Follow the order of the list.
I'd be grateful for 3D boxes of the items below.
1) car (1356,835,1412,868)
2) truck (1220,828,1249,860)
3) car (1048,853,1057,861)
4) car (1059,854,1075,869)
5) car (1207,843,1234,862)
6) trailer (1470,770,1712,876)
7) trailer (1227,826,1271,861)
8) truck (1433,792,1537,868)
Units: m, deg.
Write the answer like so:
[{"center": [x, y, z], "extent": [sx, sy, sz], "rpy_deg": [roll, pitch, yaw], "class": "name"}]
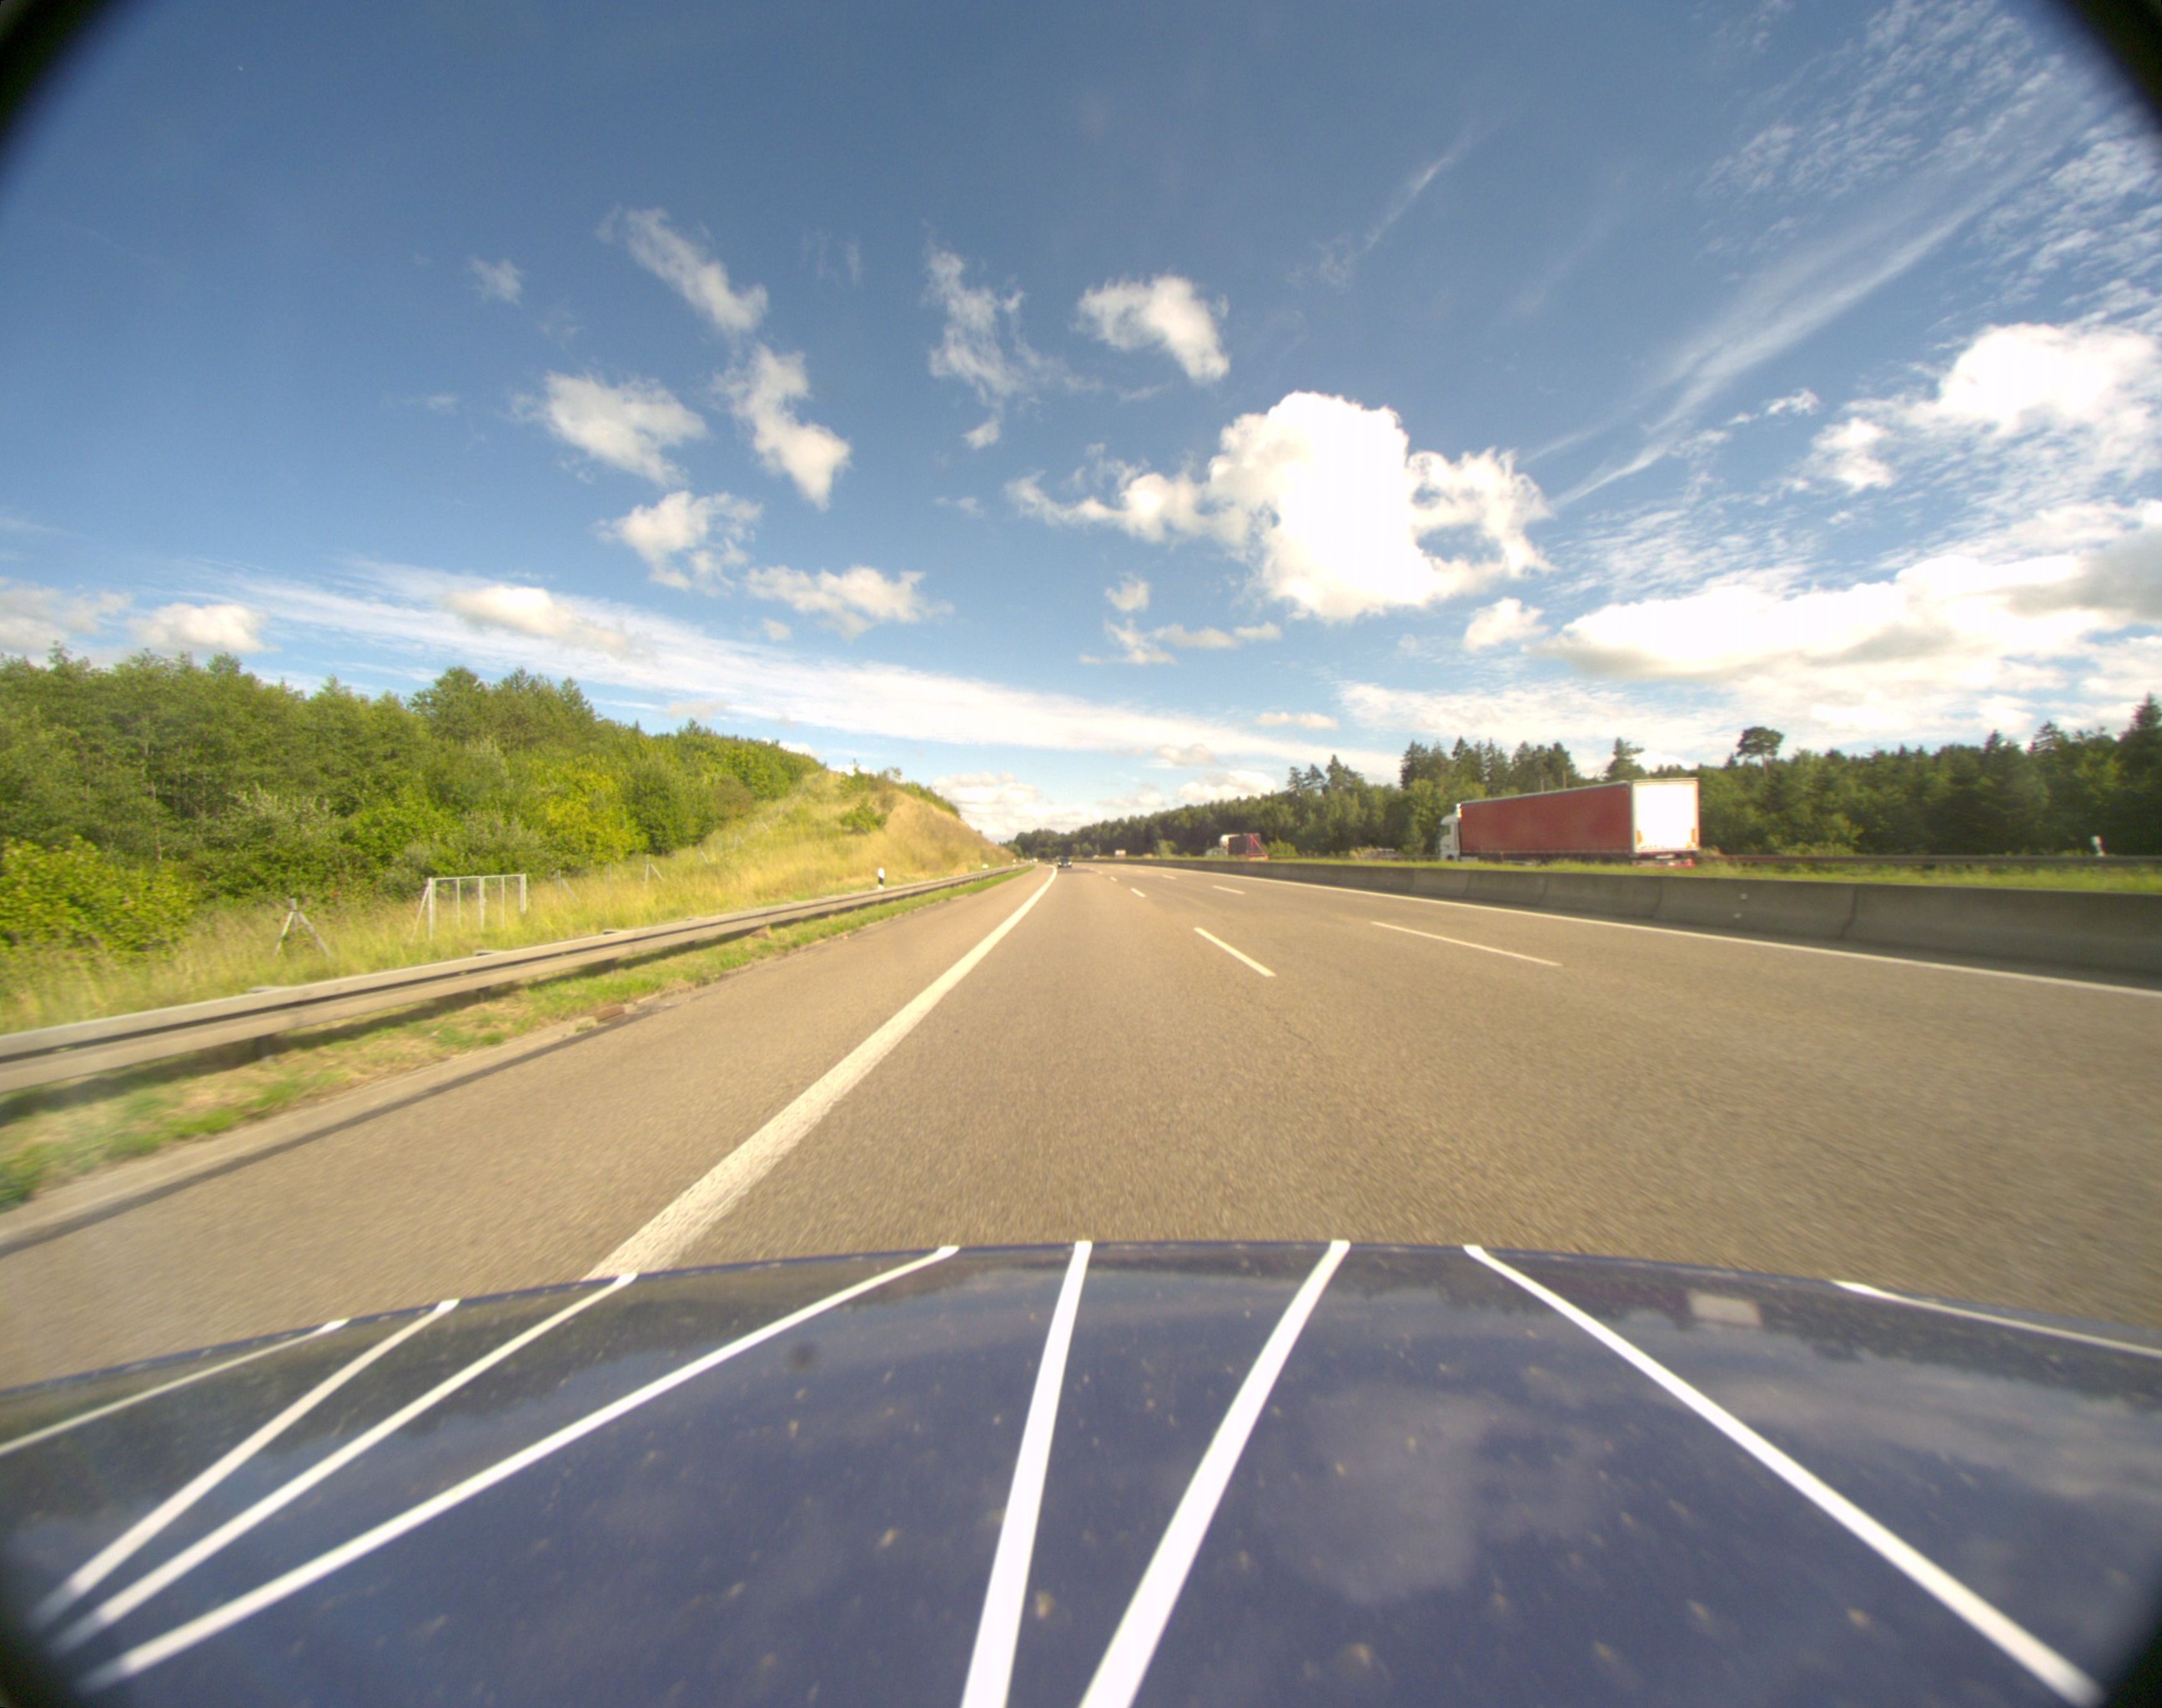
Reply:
[{"center": [19.640, -0.171, 49.448], "extent": [1.998, 2.002, 4.000], "rpy_deg": [-2, 0, 0], "class": "car"}, {"center": [21.860, -1.363, 108.676], "extent": [2.810, 4.366, 5.463], "rpy_deg": [-2, 0, -1], "class": "truck"}, {"center": [-7.488, 0.722, 200.157], "extent": [1.999, 2.002, 3.997], "rpy_deg": [-2, 1, -6], "class": "car"}, {"center": [-1.860, 0.987, 100.072], "extent": [1.999, 1.827, 3.999], "rpy_deg": [-2, 1, -1], "class": "car"}, {"center": [14.920, -0.182, 81.497], "extent": [1.998, 2.002, 4.352], "rpy_deg": [-2, 0, 0], "class": "car"}, {"center": [23.399, -1.275, 36.363], "extent": [3.029, 4.085, 12.790], "rpy_deg": [-2, 0, 0], "class": "trailer"}, {"center": [22.061, -1.334, 100.756], "extent": [2.810, 4.366, 12.047], "rpy_deg": [-2, 0, -1], "class": "trailer"}, {"center": [23.455, -1.321, 44.506], "extent": [3.032, 4.085, 5.668], "rpy_deg": [-2, 1, 0], "class": "truck"}]
